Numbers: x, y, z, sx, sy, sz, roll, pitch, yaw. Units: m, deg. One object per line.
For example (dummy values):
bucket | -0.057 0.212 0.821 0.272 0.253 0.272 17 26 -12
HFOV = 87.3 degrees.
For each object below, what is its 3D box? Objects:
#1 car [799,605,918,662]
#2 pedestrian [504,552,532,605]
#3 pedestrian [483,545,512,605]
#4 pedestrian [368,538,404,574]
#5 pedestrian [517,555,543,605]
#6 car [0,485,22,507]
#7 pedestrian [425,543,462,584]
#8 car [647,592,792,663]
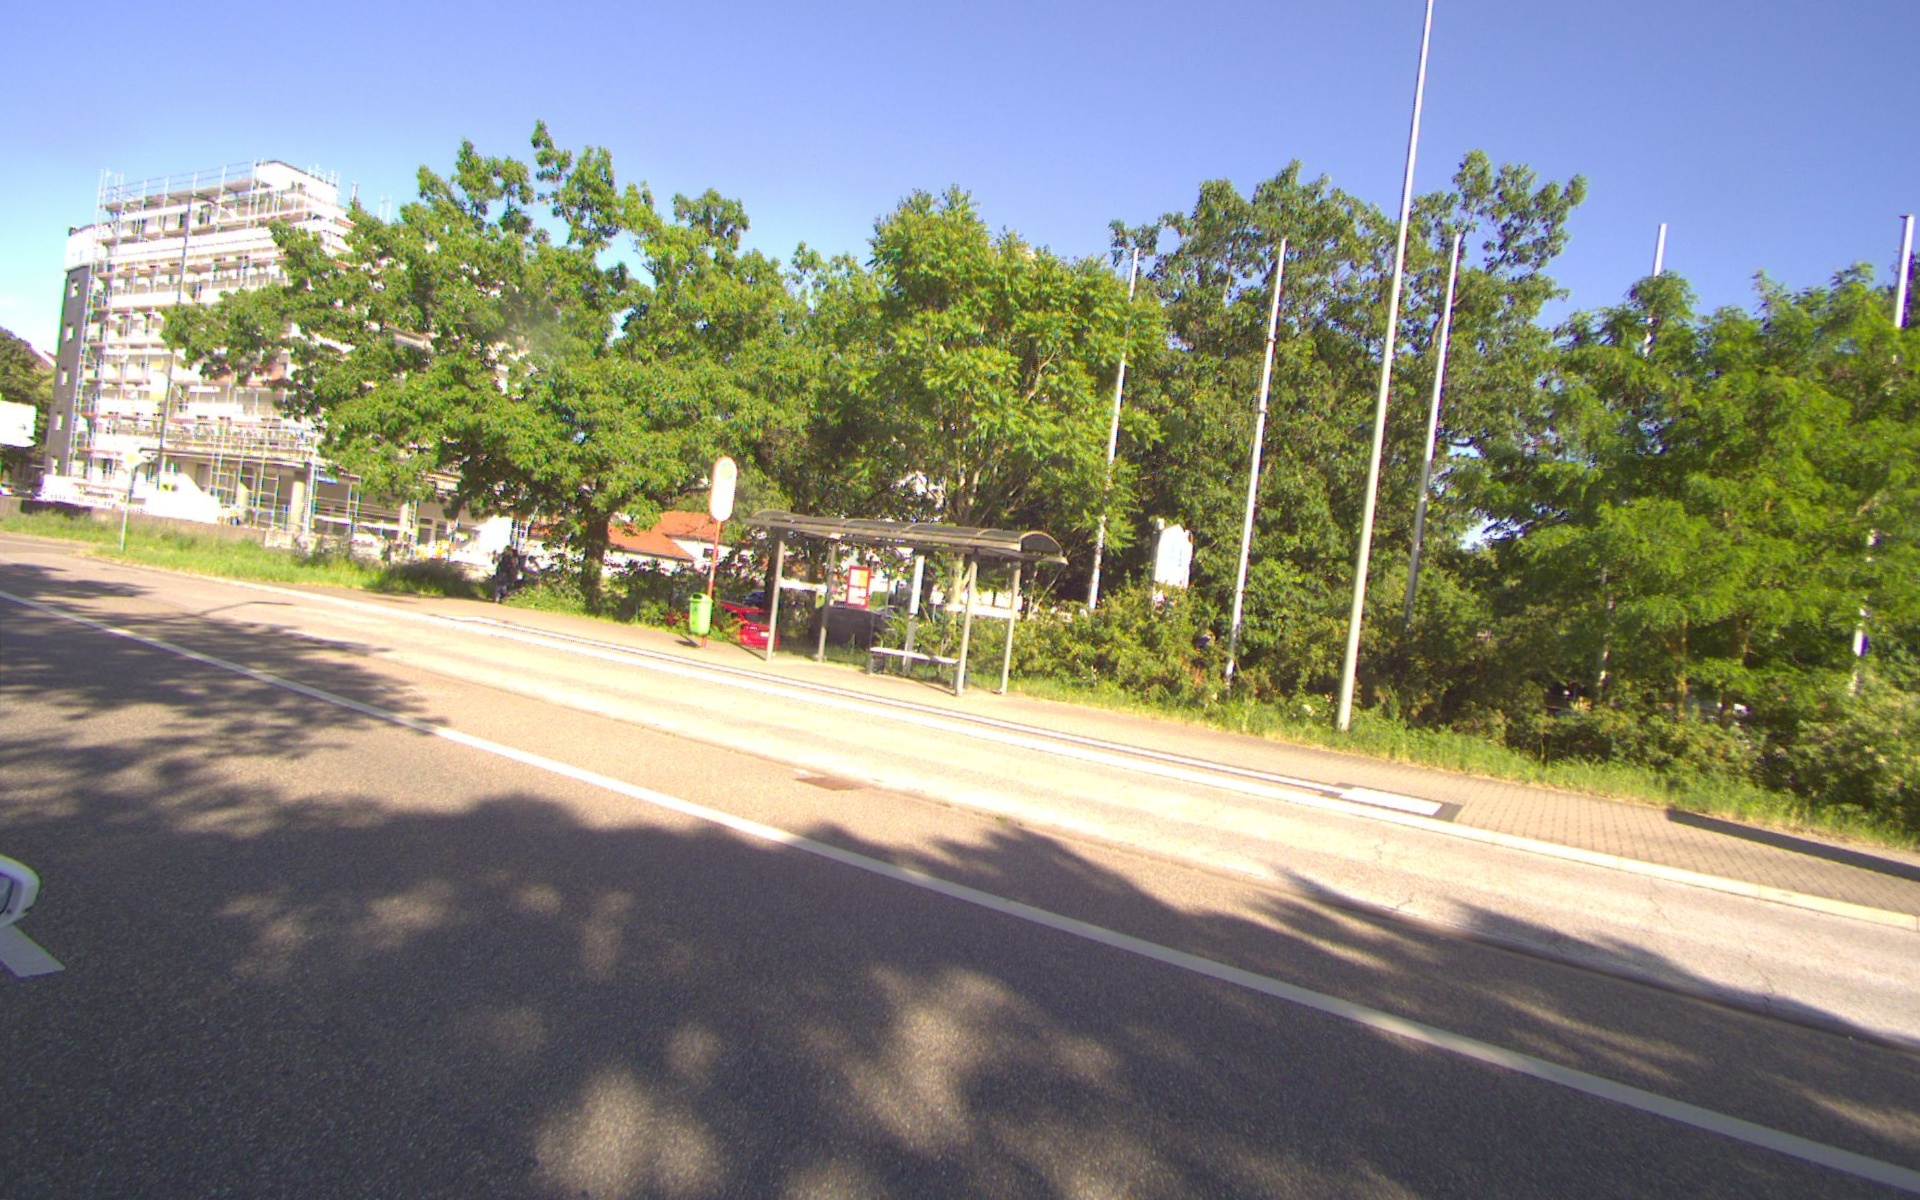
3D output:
car | -3.594 1.211 35.978 3.674 1.504 1.914 7 0 13
pedestrian | -12.715 -0.619 28.919 0.517 1.465 0.587 7 1 -32
pedestrian | -13.040 -0.704 28.368 0.517 1.632 0.587 7 1 -32
pedestrian | -26.244 -2.020 46.011 0.947 1.465 0.895 7 0 6
pedestrian | -13.405 -0.632 31.327 0.517 1.465 0.587 7 1 -32
car | -66.549 -7.269 69.998 1.521 1.330 3.250 7 0 -40
pedestrian | -22.938 -1.607 44.698 0.969 1.674 0.891 7 0 4
car | -6.877 0.795 28.744 3.680 1.504 1.755 7 0 28
